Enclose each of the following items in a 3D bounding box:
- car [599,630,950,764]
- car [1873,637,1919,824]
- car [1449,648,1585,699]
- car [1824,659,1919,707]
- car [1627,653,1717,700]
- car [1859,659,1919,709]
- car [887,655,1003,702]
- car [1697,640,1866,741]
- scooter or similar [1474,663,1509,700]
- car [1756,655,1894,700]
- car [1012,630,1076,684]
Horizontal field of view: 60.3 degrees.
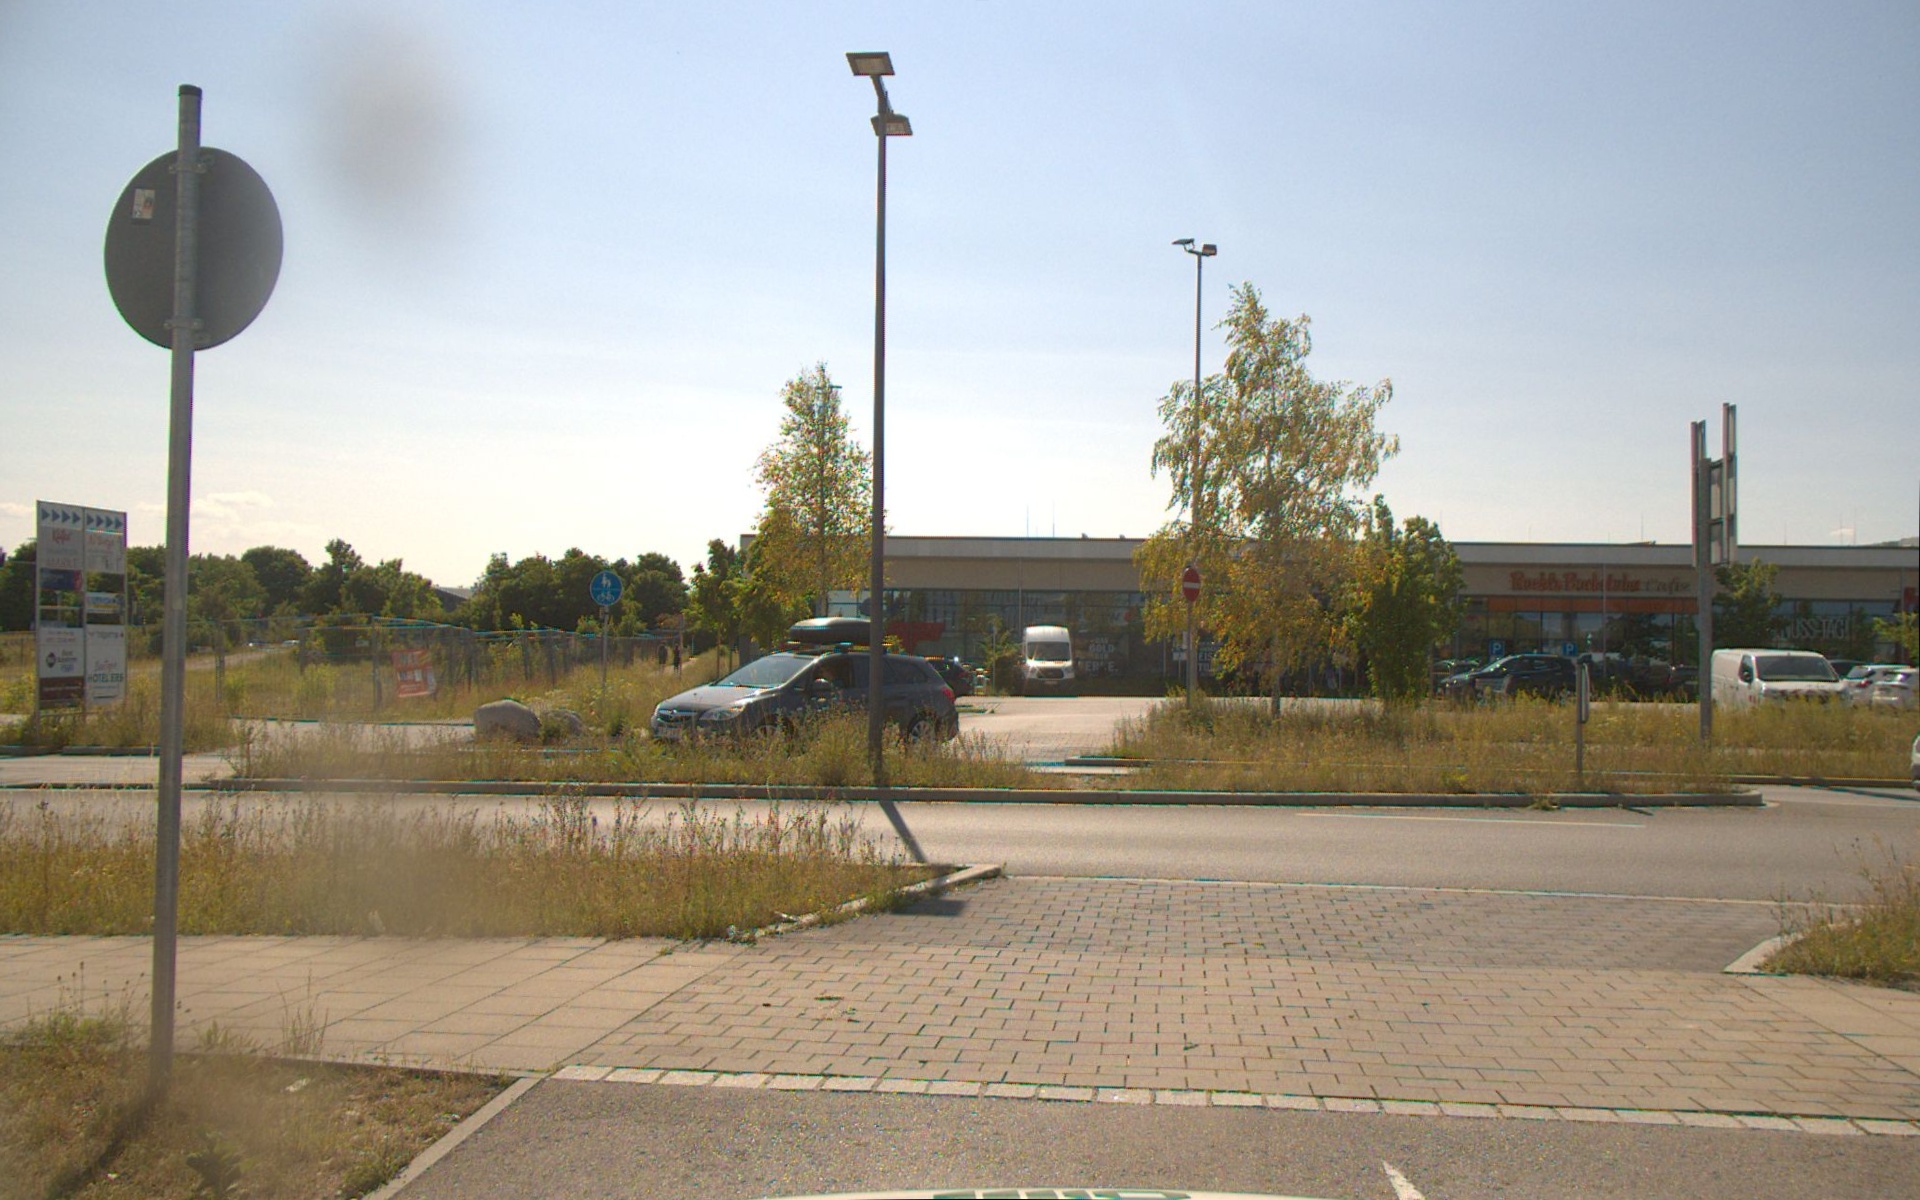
[{"bbox_3d":[-2.309,1.226,21.314,4.164,1.543,1.967,3,-3,-44],"label":"car"},{"bbox_3d":[10.343,1.148,13.828,4.461,1.579,1.741,1,-2,1],"label":"car"},{"bbox_3d":[17.419,2.299,51.851,3.714,1.535,1.732,0,-2,3],"label":"car"},{"bbox_3d":[29.105,2.577,51.342,3.643,1.415,1.731,1,-2,0],"label":"car"},{"bbox_3d":[27.799,2.961,64.712,1.952,1.737,4.001,1,-2,2],"label":"car"},{"bbox_3d":[28.577,2.468,48.341,3.643,1.415,1.731,1,-2,0],"label":"car"},{"bbox_3d":[-0.502,2.607,54.997,3.754,1.448,1.771,1,-2,-1],"label":"car"},{"bbox_3d":[18.104,1.941,36.739,2.036,2.049,5.232,0,-2,11],"label":"car"},{"bbox_3d":[16.136,2.471,50.252,0.923,1.098,0.653,0,-2,8],"label":"scooter or similar"},{"bbox_3d":[28.366,2.521,54.303,3.643,1.415,1.731,1,-2,0],"label":"car"},{"bbox_3d":[3.308,2.273,66.460,2.177,2.012,6.694,0,-2,-1],"label":"car"}]
